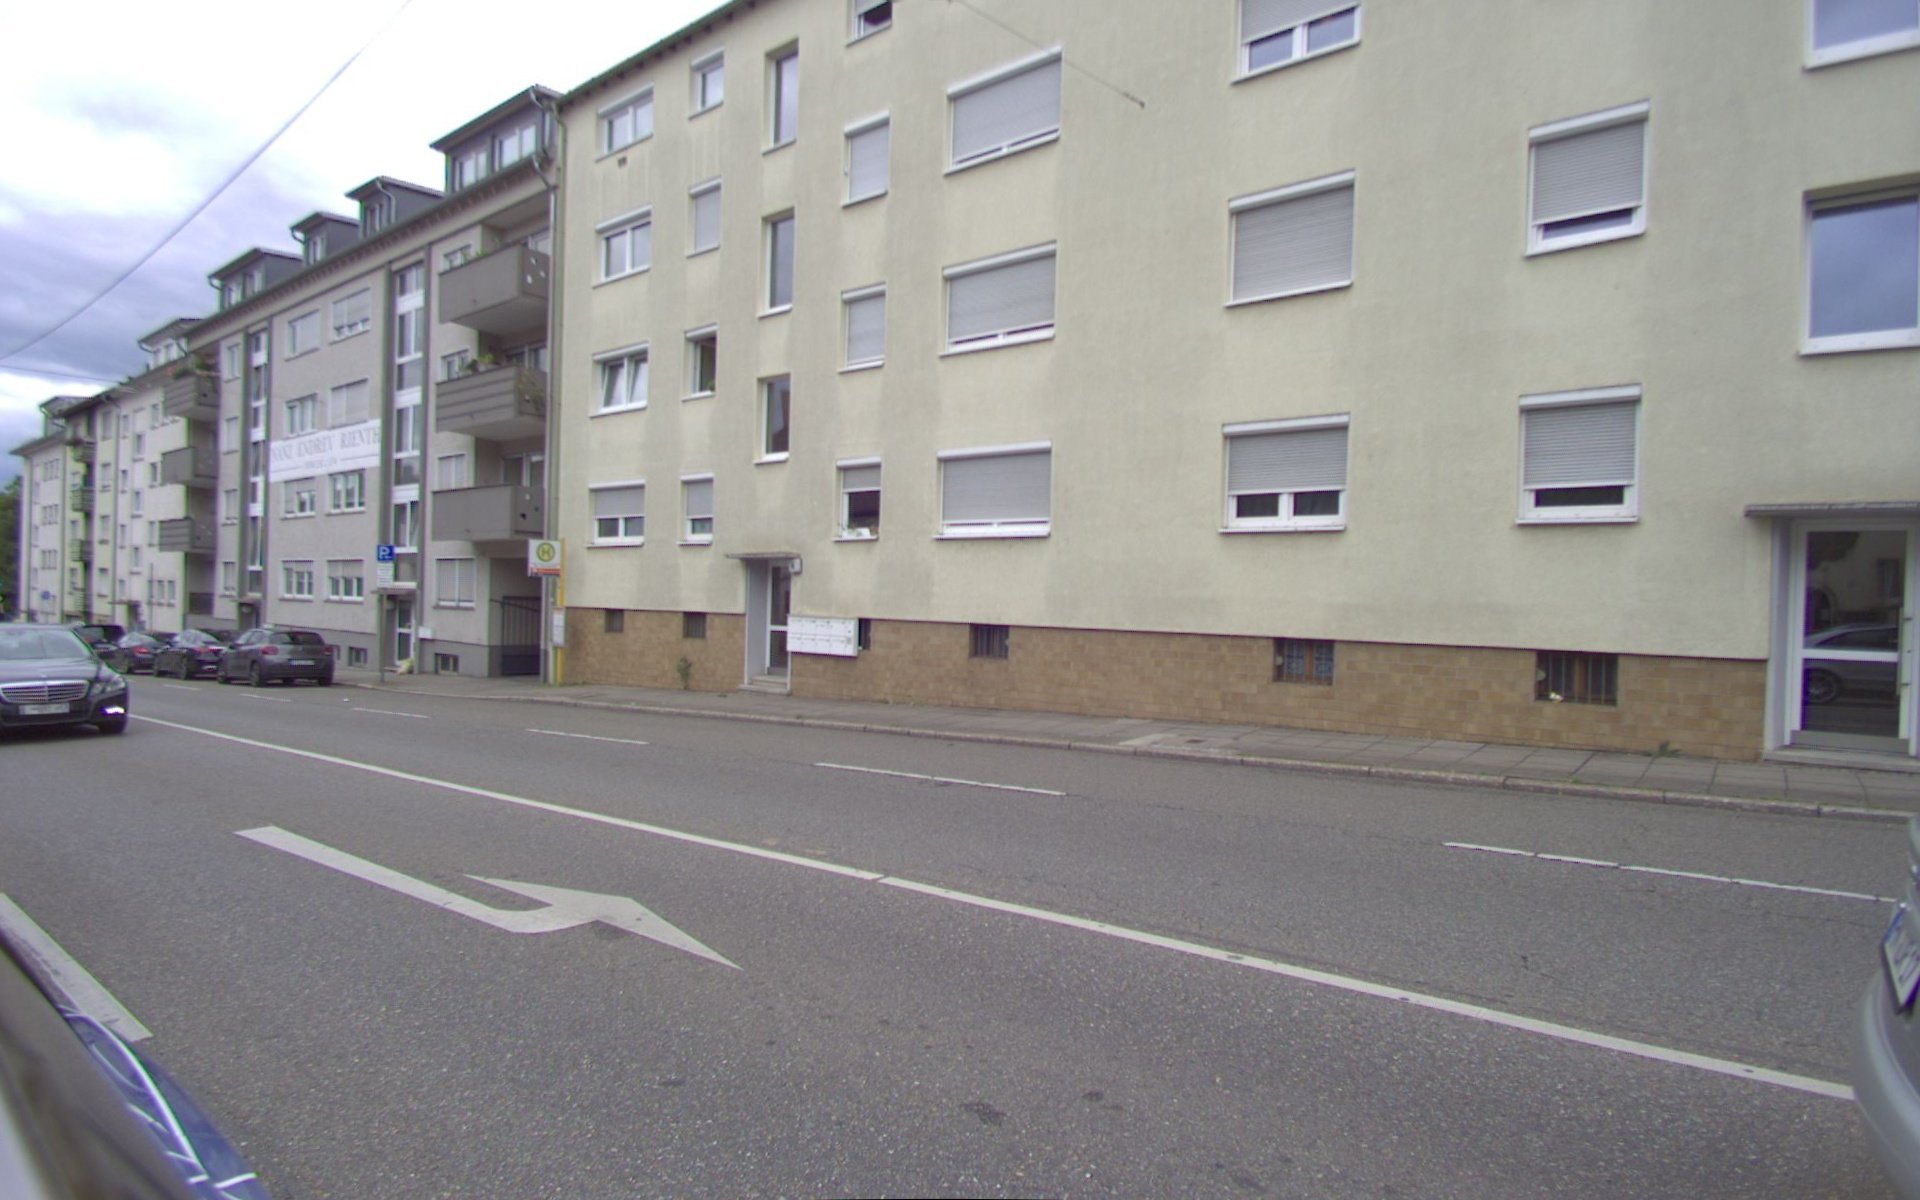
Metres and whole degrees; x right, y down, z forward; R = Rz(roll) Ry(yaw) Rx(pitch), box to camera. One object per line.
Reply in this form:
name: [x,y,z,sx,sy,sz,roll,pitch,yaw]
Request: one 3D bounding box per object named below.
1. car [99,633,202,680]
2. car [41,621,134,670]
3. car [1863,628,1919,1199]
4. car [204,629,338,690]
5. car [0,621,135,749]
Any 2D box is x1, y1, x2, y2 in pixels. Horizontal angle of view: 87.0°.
car: [-26.392,1.787,32.962,4.303,1.416,1.750,-1,-2,39]
car: [-33.537,1.740,38.865,4.302,1.767,1.852,-1,-4,39]
car: [3.481,0.700,0.685,4.174,1.383,1.679,-2,-2,40]
car: [-17.806,1.503,26.100,3.797,1.447,1.751,-1,-4,39]
car: [-12.640,1.024,13.389,4.439,1.465,1.731,-1,-1,38]
